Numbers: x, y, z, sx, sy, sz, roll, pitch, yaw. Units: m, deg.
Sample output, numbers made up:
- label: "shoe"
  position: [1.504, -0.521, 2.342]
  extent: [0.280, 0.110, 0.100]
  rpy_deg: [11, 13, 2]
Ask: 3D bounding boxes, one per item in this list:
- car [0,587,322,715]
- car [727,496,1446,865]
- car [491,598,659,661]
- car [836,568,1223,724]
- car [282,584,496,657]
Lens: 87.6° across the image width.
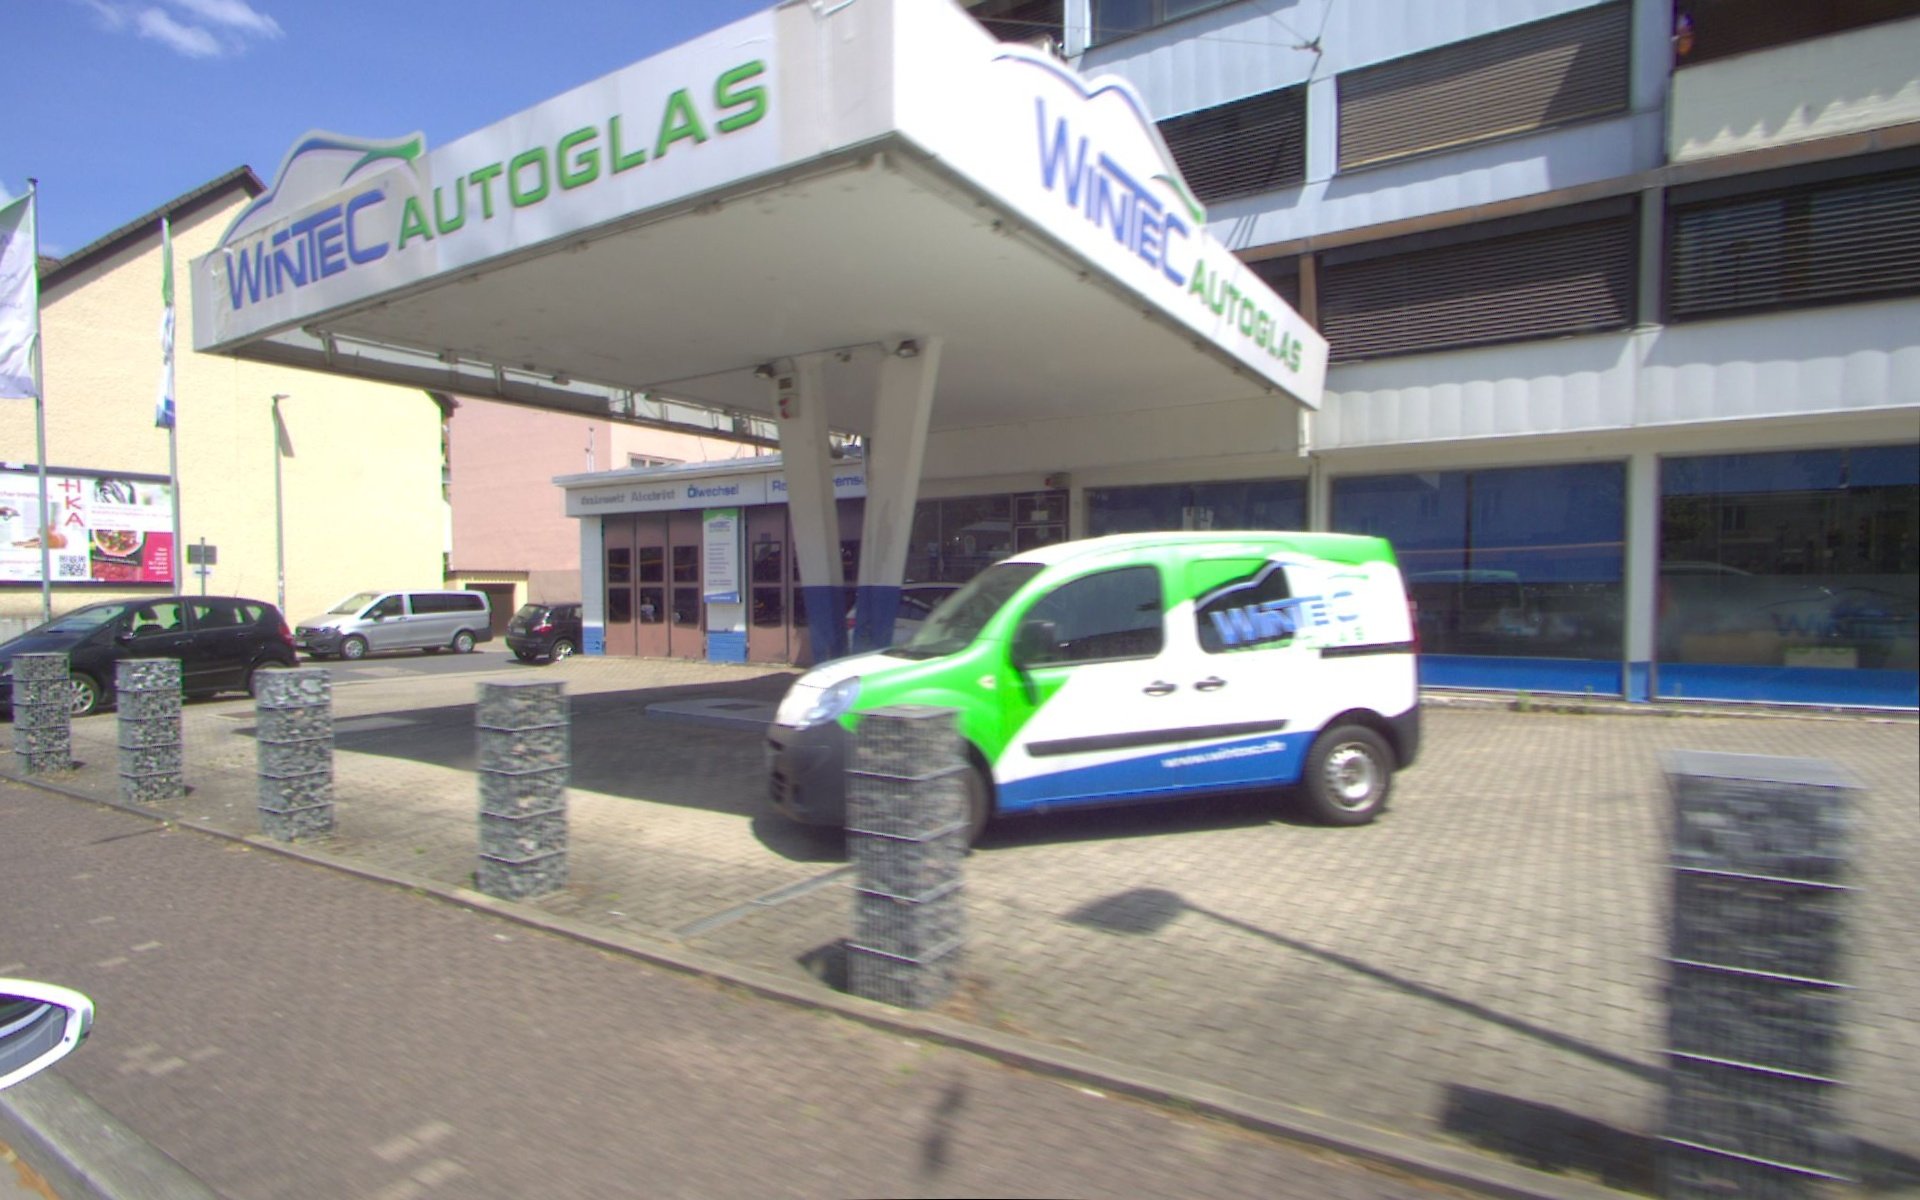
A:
- label: "car"
  position: [-11.617, 0.629, 14.320]
  extent: [1.810, 1.563, 3.880]
  rpy_deg: [-1, 0, 20]
- label: "car"
  position: [0.730, 0.447, 6.426]
  extent: [4.215, 1.812, 1.820]
  rpy_deg: [1, -2, -18]
- label: "car"
  position: [-10.289, 0.738, 26.985]
  extent: [1.818, 1.563, 3.864]
  rpy_deg: [0, 0, 35]
- label: "car"
  position: [0.762, 0.487, 12.601]
  extent: [4.641, 1.648, 1.741]
  rpy_deg: [0, 0, 35]
- label: "car"
  position: [-16.113, 0.526, 28.588]
  extent: [1.880, 1.886, 5.047]
  rpy_deg: [0, 0, 29]
